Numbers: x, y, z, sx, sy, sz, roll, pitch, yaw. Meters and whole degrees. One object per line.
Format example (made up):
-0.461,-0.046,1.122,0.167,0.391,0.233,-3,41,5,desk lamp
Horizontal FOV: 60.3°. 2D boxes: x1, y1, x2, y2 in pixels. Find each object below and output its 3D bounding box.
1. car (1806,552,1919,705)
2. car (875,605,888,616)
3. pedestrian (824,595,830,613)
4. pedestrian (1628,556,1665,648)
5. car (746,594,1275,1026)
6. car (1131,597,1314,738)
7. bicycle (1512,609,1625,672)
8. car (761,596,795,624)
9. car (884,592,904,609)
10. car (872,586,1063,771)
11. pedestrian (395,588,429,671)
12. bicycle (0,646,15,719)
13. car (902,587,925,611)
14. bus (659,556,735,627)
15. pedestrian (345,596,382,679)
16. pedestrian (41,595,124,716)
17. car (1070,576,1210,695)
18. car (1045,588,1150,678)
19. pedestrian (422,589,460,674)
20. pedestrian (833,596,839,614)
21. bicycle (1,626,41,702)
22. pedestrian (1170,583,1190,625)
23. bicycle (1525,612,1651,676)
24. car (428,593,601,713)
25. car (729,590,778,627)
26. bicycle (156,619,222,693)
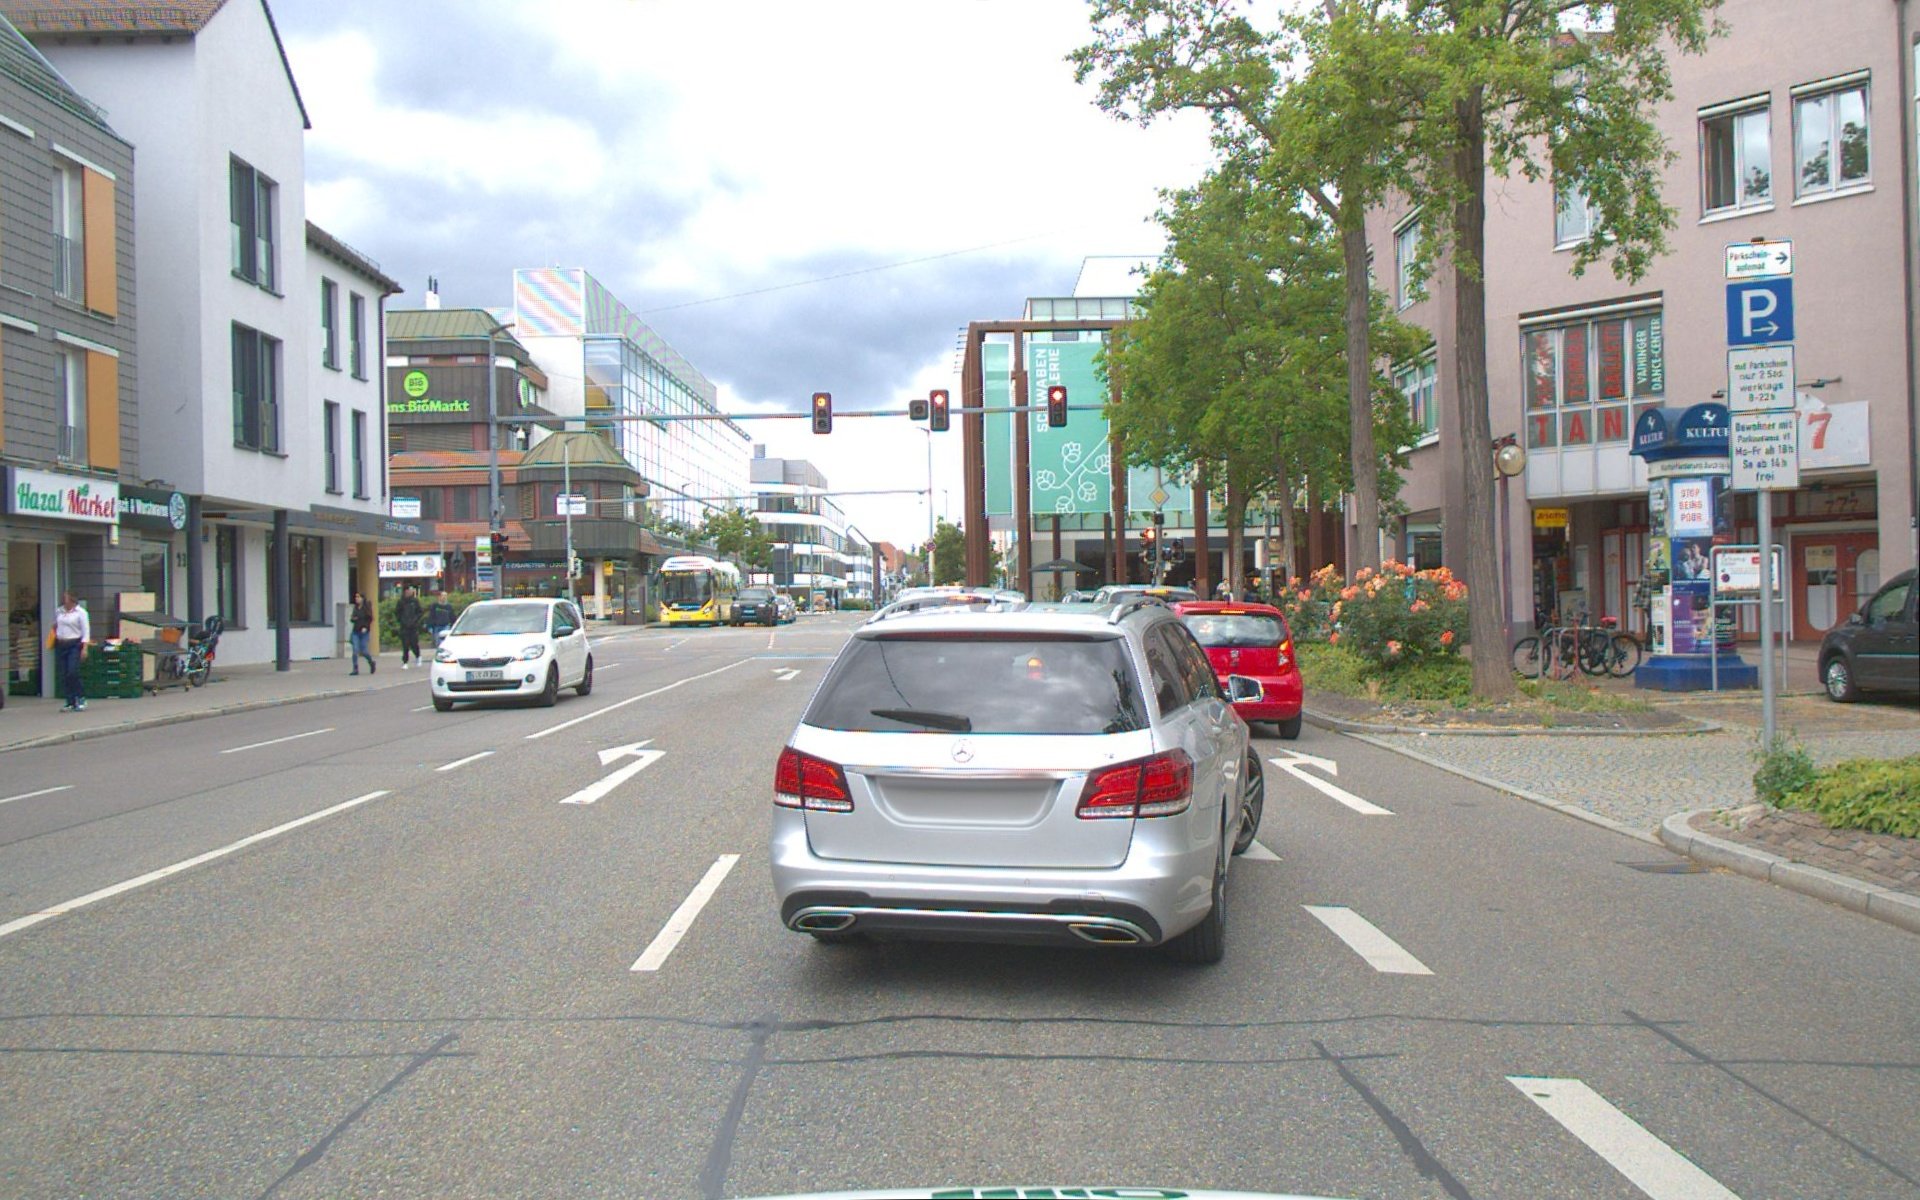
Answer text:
12.436,0.319,20.473,1.605,1.863,3.963,-2,0,-5,car
-11.496,1.542,242.886,1.764,1.567,4.064,-1,0,-1,car
-13.135,0.437,163.604,0.508,1.764,0.489,-1,0,8,pedestrian
14.012,0.041,33.769,0.637,1.866,0.610,-1,0,21,pedestrian
0.557,0.740,8.087,1.776,1.474,4.373,1,0,13,car
2.968,0.718,19.283,1.554,1.468,3.348,1,0,-1,car
10.245,0.683,27.875,1.731,1.014,0.447,-1,0,3,bicycle
-9.575,0.512,87.268,1.524,1.417,3.286,-1,0,-2,car
-6.516,0.045,164.490,1.763,1.567,4.065,-1,0,1,car
0.040,0.657,15.661,1.606,1.554,3.393,0,0,-1,car
-12.117,0.654,36.606,0.558,1.806,0.646,-1,0,-6,pedestrian
-12.993,1.115,21.943,0.320,0.970,1.479,-1,0,-11,bicycle
-4.012,-0.070,141.784,1.953,1.983,4.949,-1,0,-2,car
-13.007,-0.411,82.350,2.632,3.318,8.650,-1,0,-2,bus
-12.328,0.766,34.209,0.641,1.679,0.557,-1,0,-15,pedestrian
-12.115,0.755,22.855,0.713,1.638,0.753,-1,0,-1,pedestrian
2.672,0.497,25.326,1.555,1.662,3.915,1,0,-2,car
2.604,0.590,31.998,1.555,1.623,3.866,1,0,-2,car
-11.271,0.671,35.925,0.669,1.821,0.647,-1,0,-10,pedestrian
-12.308,0.448,163.881,0.508,1.764,0.489,-1,0,8,pedestrian
-14.858,1.005,26.182,0.381,1.147,1.281,-1,0,-23,bicycle
9.038,0.164,67.936,0.641,1.679,0.557,-1,0,-15,pedestrian
10.346,0.722,27.277,1.861,1.014,0.468,-1,0,3,bicycle
-6.221,0.688,23.432,1.542,1.514,3.463,-2,0,-1,car
-9.937,0.387,79.827,1.953,1.735,4.063,-1,0,-2,car
-13.405,0.961,28.792,0.378,1.207,1.824,-1,0,-4,bicycle
